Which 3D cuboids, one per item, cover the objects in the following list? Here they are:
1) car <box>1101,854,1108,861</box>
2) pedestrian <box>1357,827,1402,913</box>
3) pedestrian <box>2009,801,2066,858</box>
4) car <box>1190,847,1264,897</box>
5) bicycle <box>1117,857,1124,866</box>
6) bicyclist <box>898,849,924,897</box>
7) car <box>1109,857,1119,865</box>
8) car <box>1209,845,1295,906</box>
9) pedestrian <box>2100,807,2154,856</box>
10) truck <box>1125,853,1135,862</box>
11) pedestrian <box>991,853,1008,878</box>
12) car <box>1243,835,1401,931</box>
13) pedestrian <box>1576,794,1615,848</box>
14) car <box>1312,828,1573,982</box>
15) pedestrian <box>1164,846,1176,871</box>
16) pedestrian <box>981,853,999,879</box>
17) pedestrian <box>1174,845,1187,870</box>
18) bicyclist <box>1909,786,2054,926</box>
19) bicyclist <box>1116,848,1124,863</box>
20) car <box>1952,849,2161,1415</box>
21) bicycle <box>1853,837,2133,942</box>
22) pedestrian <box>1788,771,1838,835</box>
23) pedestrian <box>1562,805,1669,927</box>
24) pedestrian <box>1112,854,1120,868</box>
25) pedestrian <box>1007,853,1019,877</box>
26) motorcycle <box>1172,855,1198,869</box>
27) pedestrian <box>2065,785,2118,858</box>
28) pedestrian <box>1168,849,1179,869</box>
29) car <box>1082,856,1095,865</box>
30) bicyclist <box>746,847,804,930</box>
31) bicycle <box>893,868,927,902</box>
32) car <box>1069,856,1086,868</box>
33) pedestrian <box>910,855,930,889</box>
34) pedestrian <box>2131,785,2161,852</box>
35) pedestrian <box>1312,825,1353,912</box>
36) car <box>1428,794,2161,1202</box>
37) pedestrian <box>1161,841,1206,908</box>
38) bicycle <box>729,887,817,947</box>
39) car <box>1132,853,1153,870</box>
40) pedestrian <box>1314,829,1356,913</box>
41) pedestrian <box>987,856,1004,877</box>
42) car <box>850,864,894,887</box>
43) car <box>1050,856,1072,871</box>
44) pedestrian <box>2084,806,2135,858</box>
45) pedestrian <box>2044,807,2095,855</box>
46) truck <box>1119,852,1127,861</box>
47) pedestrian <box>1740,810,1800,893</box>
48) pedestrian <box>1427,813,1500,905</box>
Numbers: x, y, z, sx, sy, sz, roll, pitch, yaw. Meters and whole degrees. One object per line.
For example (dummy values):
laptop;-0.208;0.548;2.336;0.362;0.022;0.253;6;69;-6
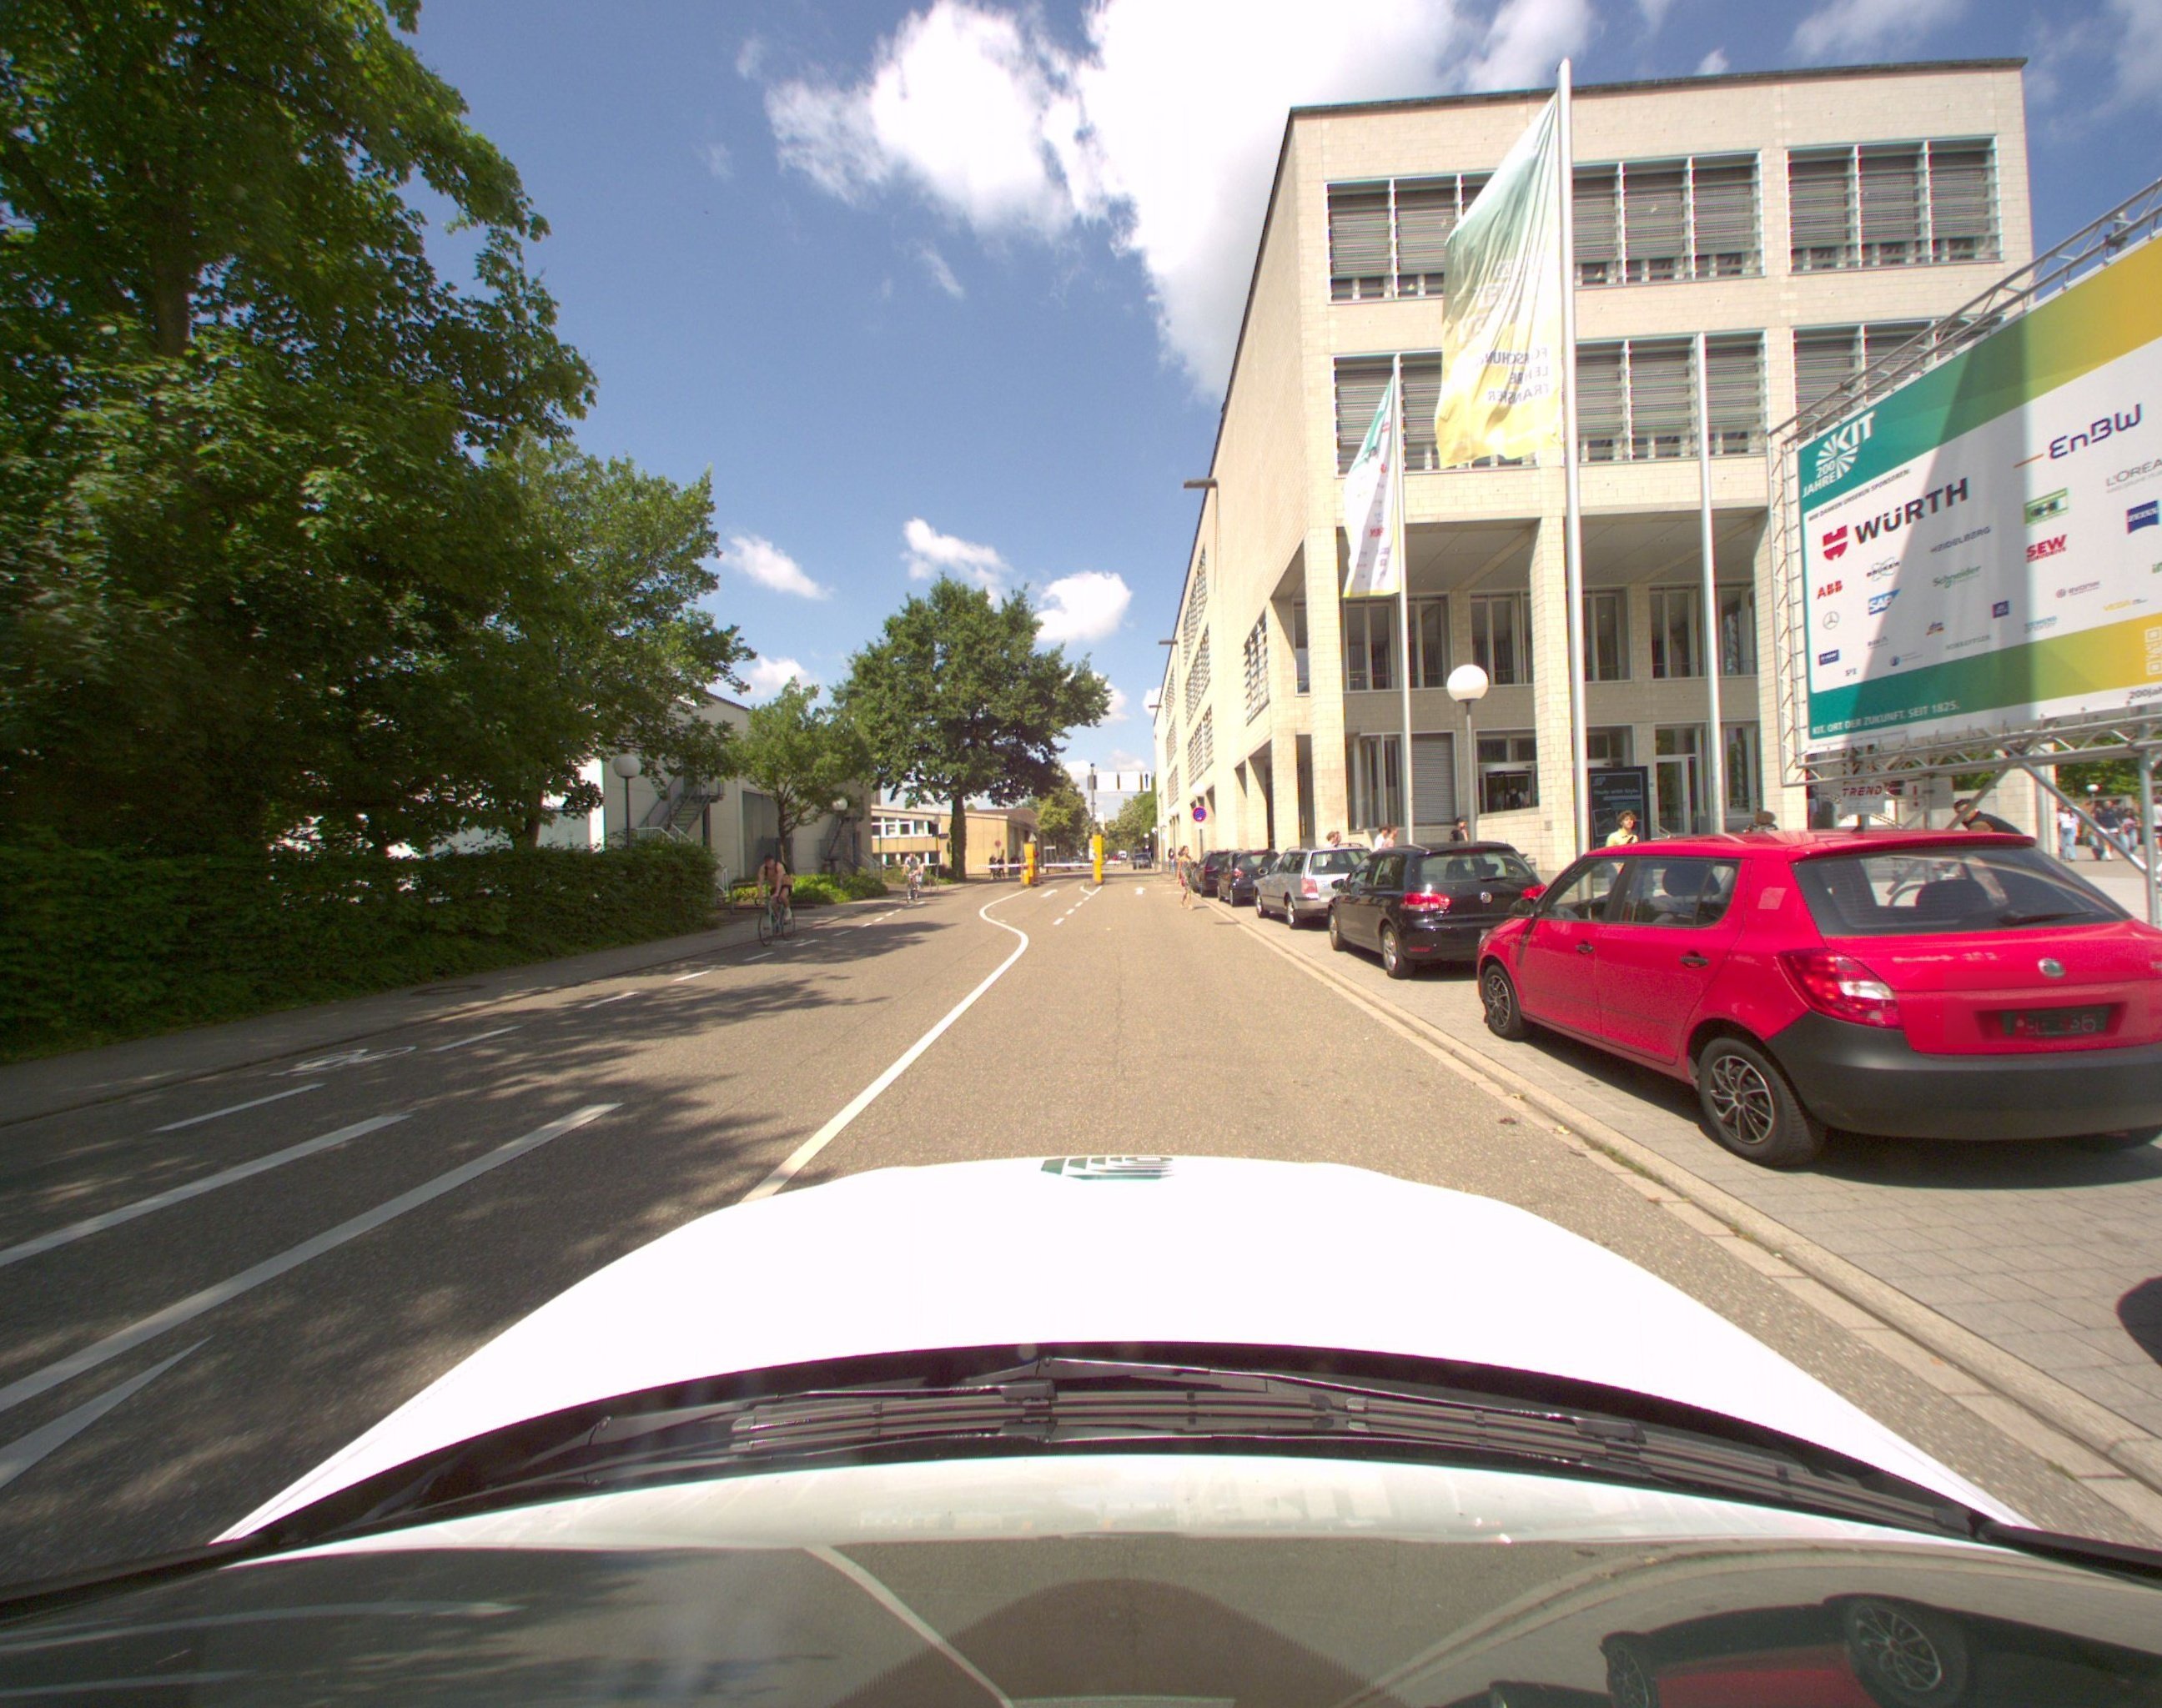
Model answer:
car;7.040;1.008;243.722;1.984;1.720;4.005;-2;-2;5
pedestrian;6.871;0.359;18.766;0.720;1.925;0.752;-2;-1;3
pedestrian;29.703;-0.755;25.298;0.861;1.702;0.637;-3;-3;21
car;4.766;0.561;27.166;1.859;1.464;4.523;-2;0;3
bicycle;5.822;1.106;120.681;0.983;1.316;2.965;-2;-2;2
bicyclist;-6.329;0.707;30.315;0.690;1.737;0.919;-2;-1;2
car;7.524;1.667;185.329;1.984;1.720;4.005;-2;-2;5
car;4.660;0.560;22.673;1.608;1.496;4.008;-2;0;2
pedestrian;31.683;-0.667;24.674;0.632;1.437;0.714;-2;-2;-10
truck;11.157;0.787;186.531;1.986;2.014;4.000;-2;-2;1
pedestrian;-6.106;0.822;60.947;1.052;1.816;0.806;-2;0;1
car;4.582;0.501;16.242;1.714;1.529;4.565;-4;0;0
pedestrian;15.941;-1.005;25.257;0.714;1.585;0.717;-2;-2;5
car;4.306;0.535;10.430;1.712;1.529;4.004;-2;0;3
pedestrian;6.561;0.317;60.243;0.692;1.780;1.086;-3;0;1
pedestrian;-6.947;0.905;62.255;0.876;1.925;1.012;-2;-1;28
pedestrian;7.375;0.281;60.293;0.764;1.780;0.911;-3;0;1
bicyclist;10.700;0.021;9.715;0.658;1.564;0.933;-2;0;1
bicyclist;5.782;0.264;120.963;0.983;2.132;1.037;-2;-2;2
car;3.444;0.655;0.234;1.711;1.400;4.442;-4;0;3
bicycle;10.726;0.393;9.742;0.898;1.079;2.154;-2;-1;0
pedestrian;21.466;-1.479;23.901;0.714;1.798;0.717;-2;-2;5
pedestrian;8.046;0.179;12.309;0.914;1.740;1.002;-2;0;3
pedestrian;4.146;0.833;96.027;0.890;1.632;0.888;-1;-1;1
pedestrian;-5.076;0.817;60.837;0.702;1.809;1.002;-2;0;2
motorcycle;8.761;0.716;68.783;2.113;1.023;0.660;-4;-2;4
pedestrian;31.621;-1.005;25.497;0.708;2.230;0.637;-3;-3;21
pedestrian;7.427;0.400;65.644;0.738;1.632;0.888;-3;0;1
car;1.243;1.097;139.247;1.985;1.545;4.215;-2;0;3
bicyclist;-6.018;0.665;16.051;0.690;1.548;1.019;-2;-1;2
bicycle;-6.377;1.125;30.414;0.690;1.171;2.211;-2;-1;2
car;-0.410;1.119;111.132;1.985;1.545;4.215;-2;0;3
pedestrian;-7.811;0.873;39.537;0.710;1.627;0.884;-2;0;1
pedestrian;36.559;-1.206;27.764;0.636;2.230;0.710;-1;-3;-28
pedestrian;5.736;0.328;18.567;0.776;1.925;0.597;-2;-1;25
car;3.858;0.550;5.226;1.607;1.496;4.150;-4;0;3
pedestrian;2.700;0.539;21.481;0.626;1.717;1.030;-2;-1;-29
bicycle;-5.992;1.200;15.996;0.790;0.989;2.211;-2;-1;2
car;6.133;0.761;81.531;1.985;1.545;4.215;-2;0;3
pedestrian;5.981;0.403;19.145;0.775;1.925;0.739;-2;-1;25
pedestrian;-6.628;0.970;63.190;0.876;1.632;0.902;-2;-1;28
car;-14.934;1.531;58.416;1.822;1.467;4.301;-2;0;2
car;-2.135;0.988;89.218;1.985;1.545;4.215;-2;0;3
pedestrian;30.920;-0.653;24.489;0.626;1.498;0.720;-3;-3;25
pedestrian;30.513;-0.701;25.139;0.708;1.431;0.637;-3;-3;21
truck;11.258;0.633;216.856;1.986;2.271;4.616;-2;-2;1
pedestrian;13.979;-0.047;16.519;0.694;1.639;0.730;-2;-1;-35
pedestrian;8.320;0.115;17.769;1.090;1.920;1.022;-2;0;4
